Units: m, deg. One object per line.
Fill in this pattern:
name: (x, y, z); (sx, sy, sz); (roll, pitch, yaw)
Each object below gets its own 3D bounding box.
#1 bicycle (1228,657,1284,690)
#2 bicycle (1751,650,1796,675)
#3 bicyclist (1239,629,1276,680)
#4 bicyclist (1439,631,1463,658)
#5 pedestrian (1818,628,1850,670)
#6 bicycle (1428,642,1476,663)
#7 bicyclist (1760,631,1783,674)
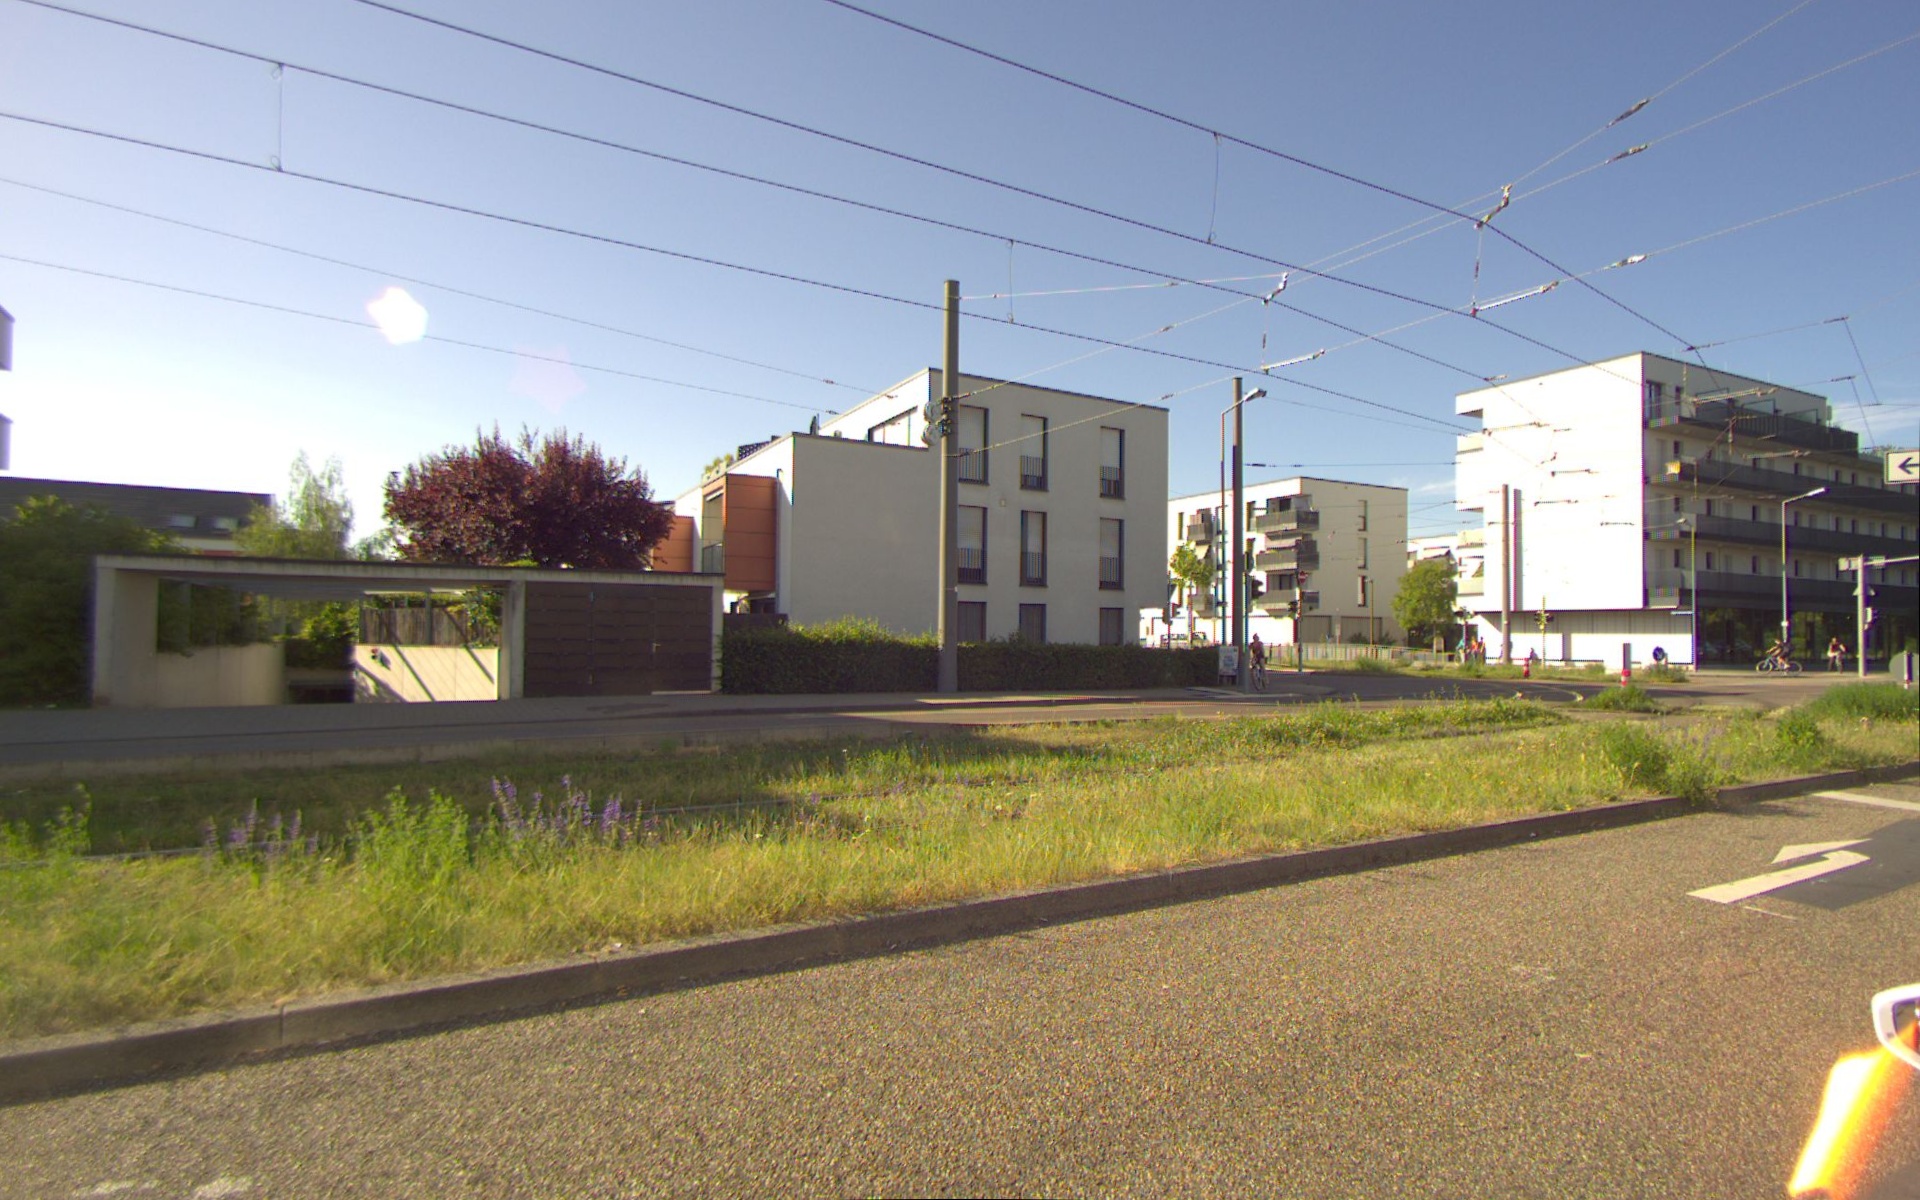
bicycle: (8.915, 2.189, 30.179); (0.887, 0.904, 2.477); (-1, -3, 34)
bicycle: (38.964, 2.982, 48.120); (1.616, 1.159, 0.742); (-1, -2, 37)
bicyclist: (8.972, 1.627, 30.286); (0.877, 1.510, 0.744); (-1, -2, 34)
bicyclist: (29.101, 2.648, 59.565); (0.900, 1.613, 0.891); (1, -2, -21)
pedestrian: (43.085, 2.413, 49.525); (0.752, 2.040, 0.972); (1, -2, -32)
bicycle: (29.190, 3.108, 59.577); (2.783, 1.214, 0.899); (1, -2, -21)
bicyclist: (38.913, 2.515, 48.163); (0.782, 2.040, 0.809); (-1, -2, 36)
